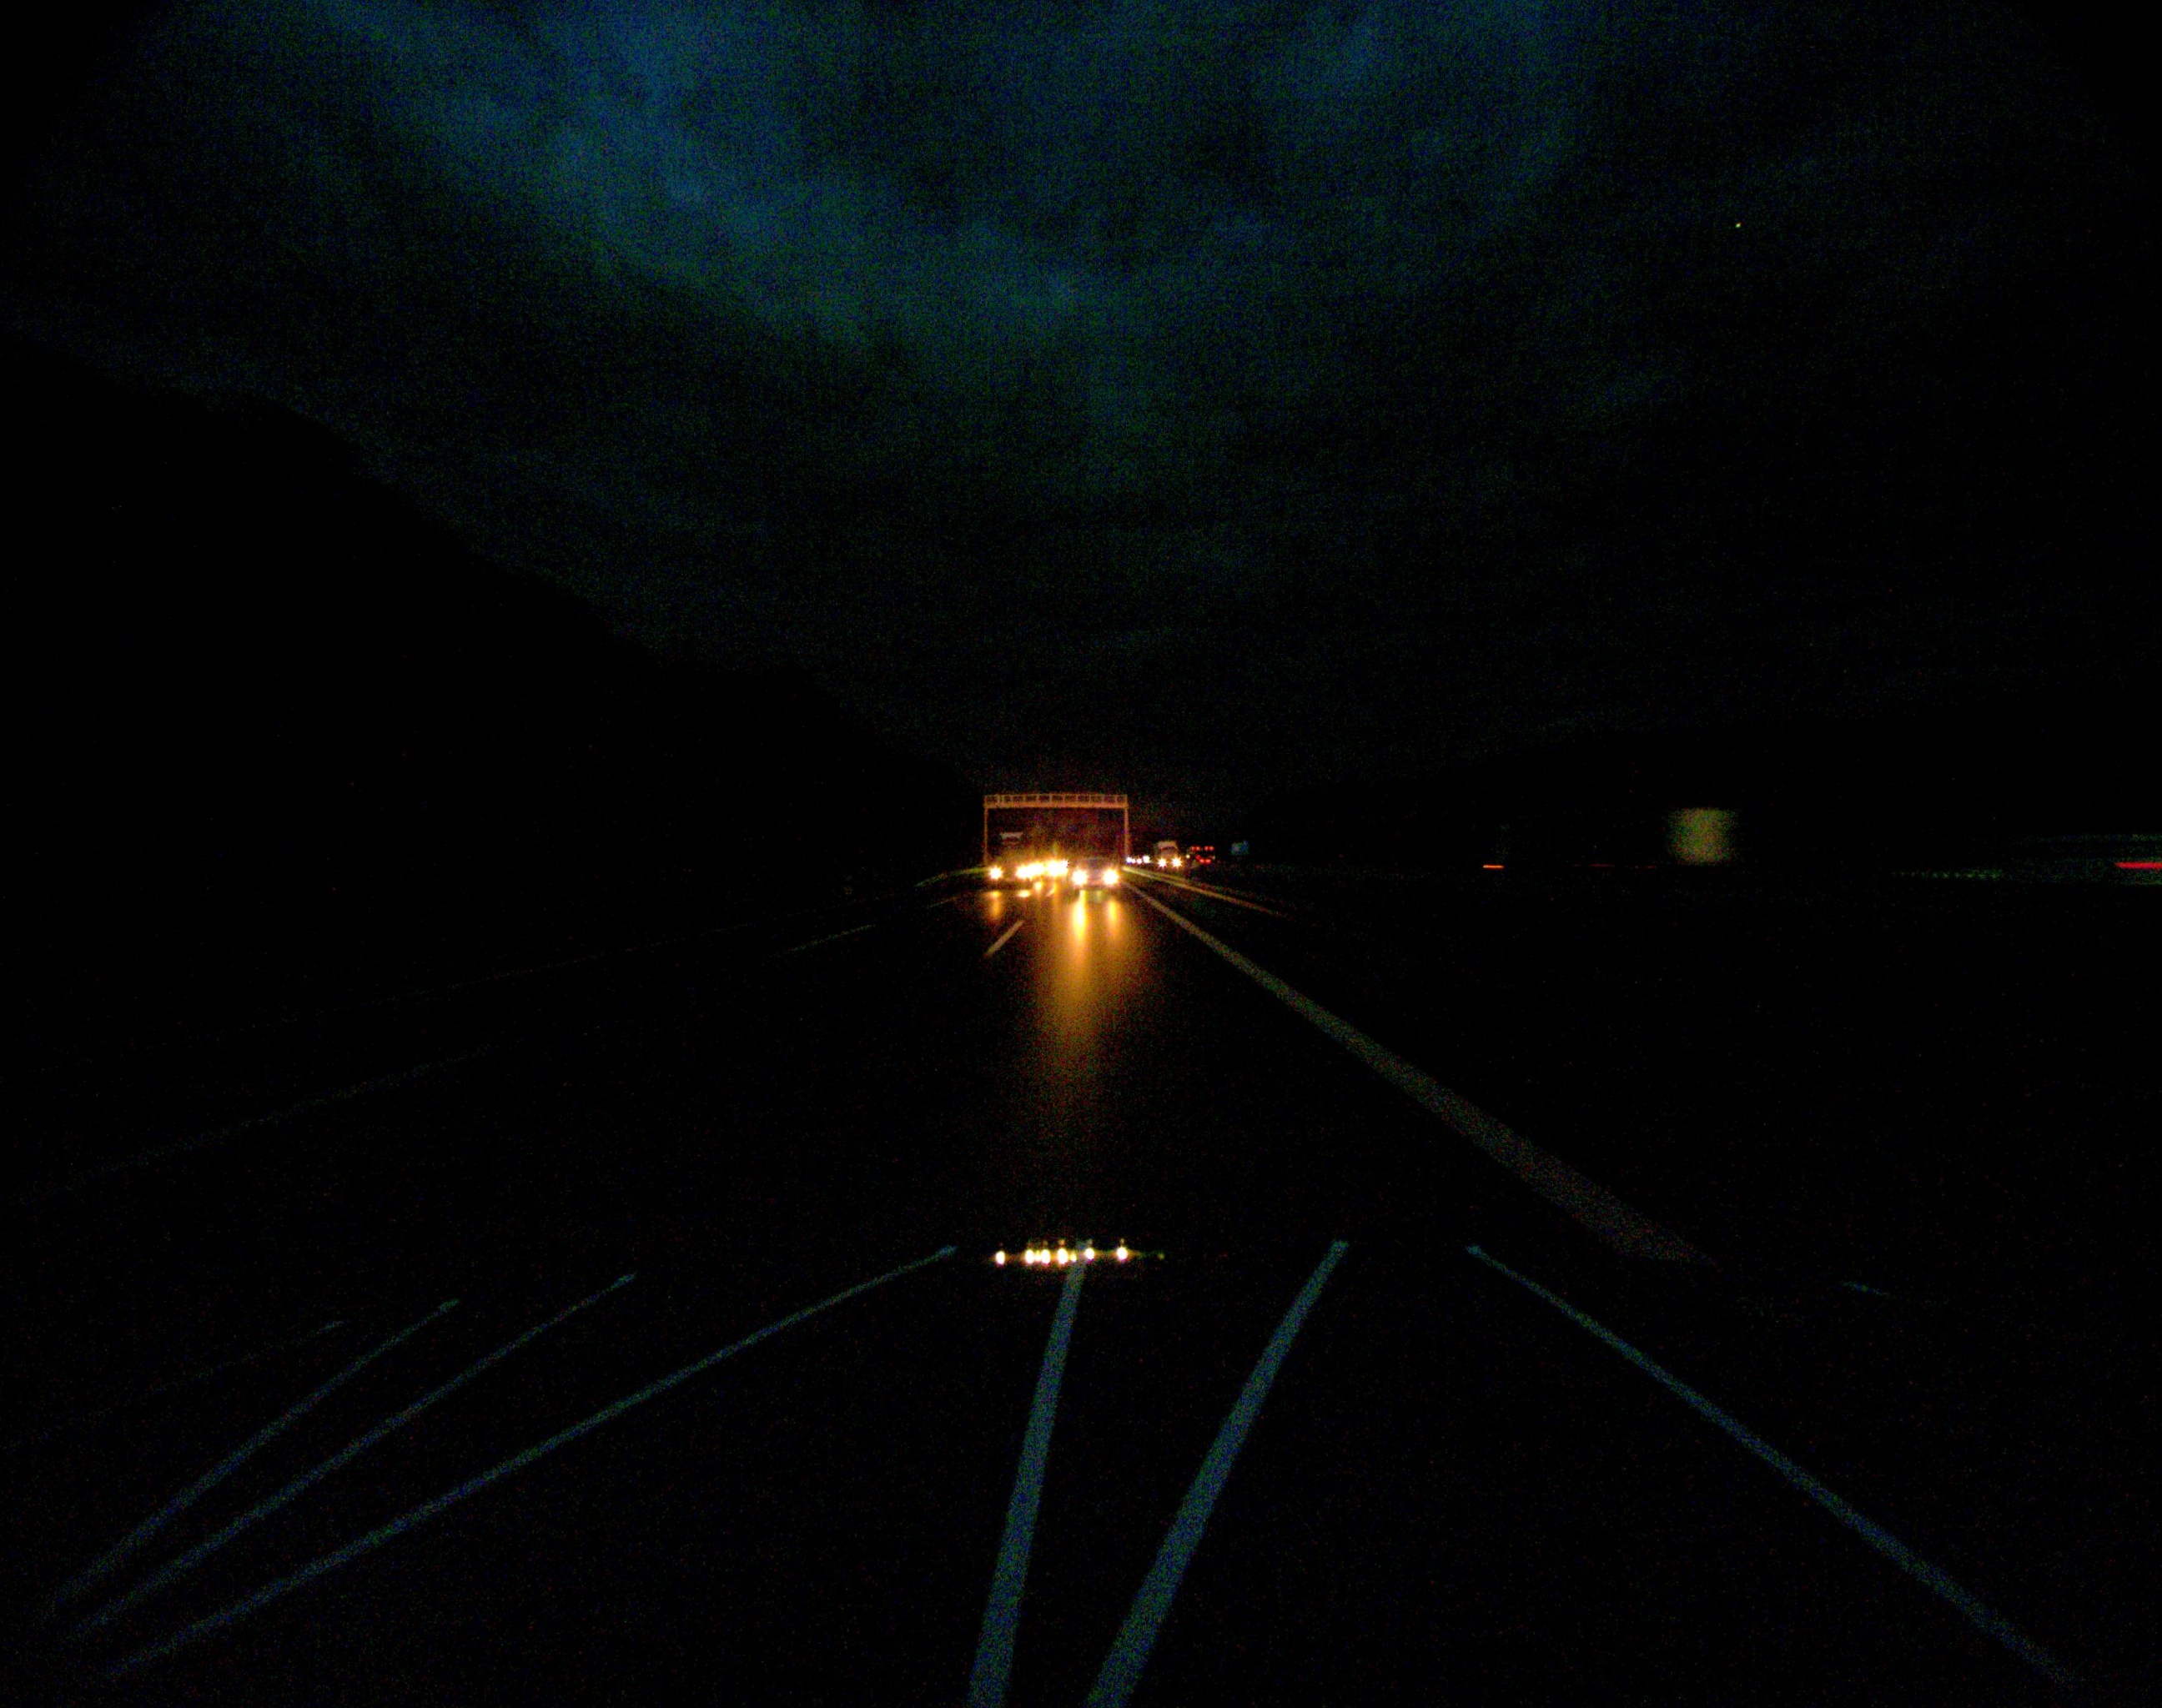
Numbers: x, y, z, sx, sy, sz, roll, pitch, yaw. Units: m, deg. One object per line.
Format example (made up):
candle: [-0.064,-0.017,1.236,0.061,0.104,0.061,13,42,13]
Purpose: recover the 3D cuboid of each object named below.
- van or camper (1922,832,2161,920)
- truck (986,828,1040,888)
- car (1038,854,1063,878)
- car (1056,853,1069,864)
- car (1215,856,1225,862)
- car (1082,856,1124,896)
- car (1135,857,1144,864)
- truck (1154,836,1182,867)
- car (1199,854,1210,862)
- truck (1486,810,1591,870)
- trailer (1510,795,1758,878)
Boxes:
van or camper: [24.391,0.458,18.385,1.895,1.895,5.540,-1,0,-1]
truck: [-3.617,0.194,41.748,2.274,2.954,6.631,-2,0,0]
car: [-2.152,0.816,53.817,1.615,1.546,3.318,-1,1,-1]
car: [-2.740,0.669,112.600,1.803,1.483,5.116,-2,0,-2]
car: [34.235,1.172,187.047,1.772,1.311,3.892,0,1,-1]
car: [0.914,0.885,32.202,1.669,1.551,3.756,0,0,1]
car: [14.033,1.520,182.678,1.833,1.674,4.229,-2,0,0]
truck: [12.797,-0.404,112.758,3.046,4.276,9.890,0,1,0]
car: [26.302,0.897,161.758,1.686,1.696,3.752,-1,0,1]
truck: [28.972,-0.861,48.434,3.318,3.598,5.496,0,1,0]
trailer: [28.959,-0.863,41.330,3.335,3.743,13.884,0,1,0]
